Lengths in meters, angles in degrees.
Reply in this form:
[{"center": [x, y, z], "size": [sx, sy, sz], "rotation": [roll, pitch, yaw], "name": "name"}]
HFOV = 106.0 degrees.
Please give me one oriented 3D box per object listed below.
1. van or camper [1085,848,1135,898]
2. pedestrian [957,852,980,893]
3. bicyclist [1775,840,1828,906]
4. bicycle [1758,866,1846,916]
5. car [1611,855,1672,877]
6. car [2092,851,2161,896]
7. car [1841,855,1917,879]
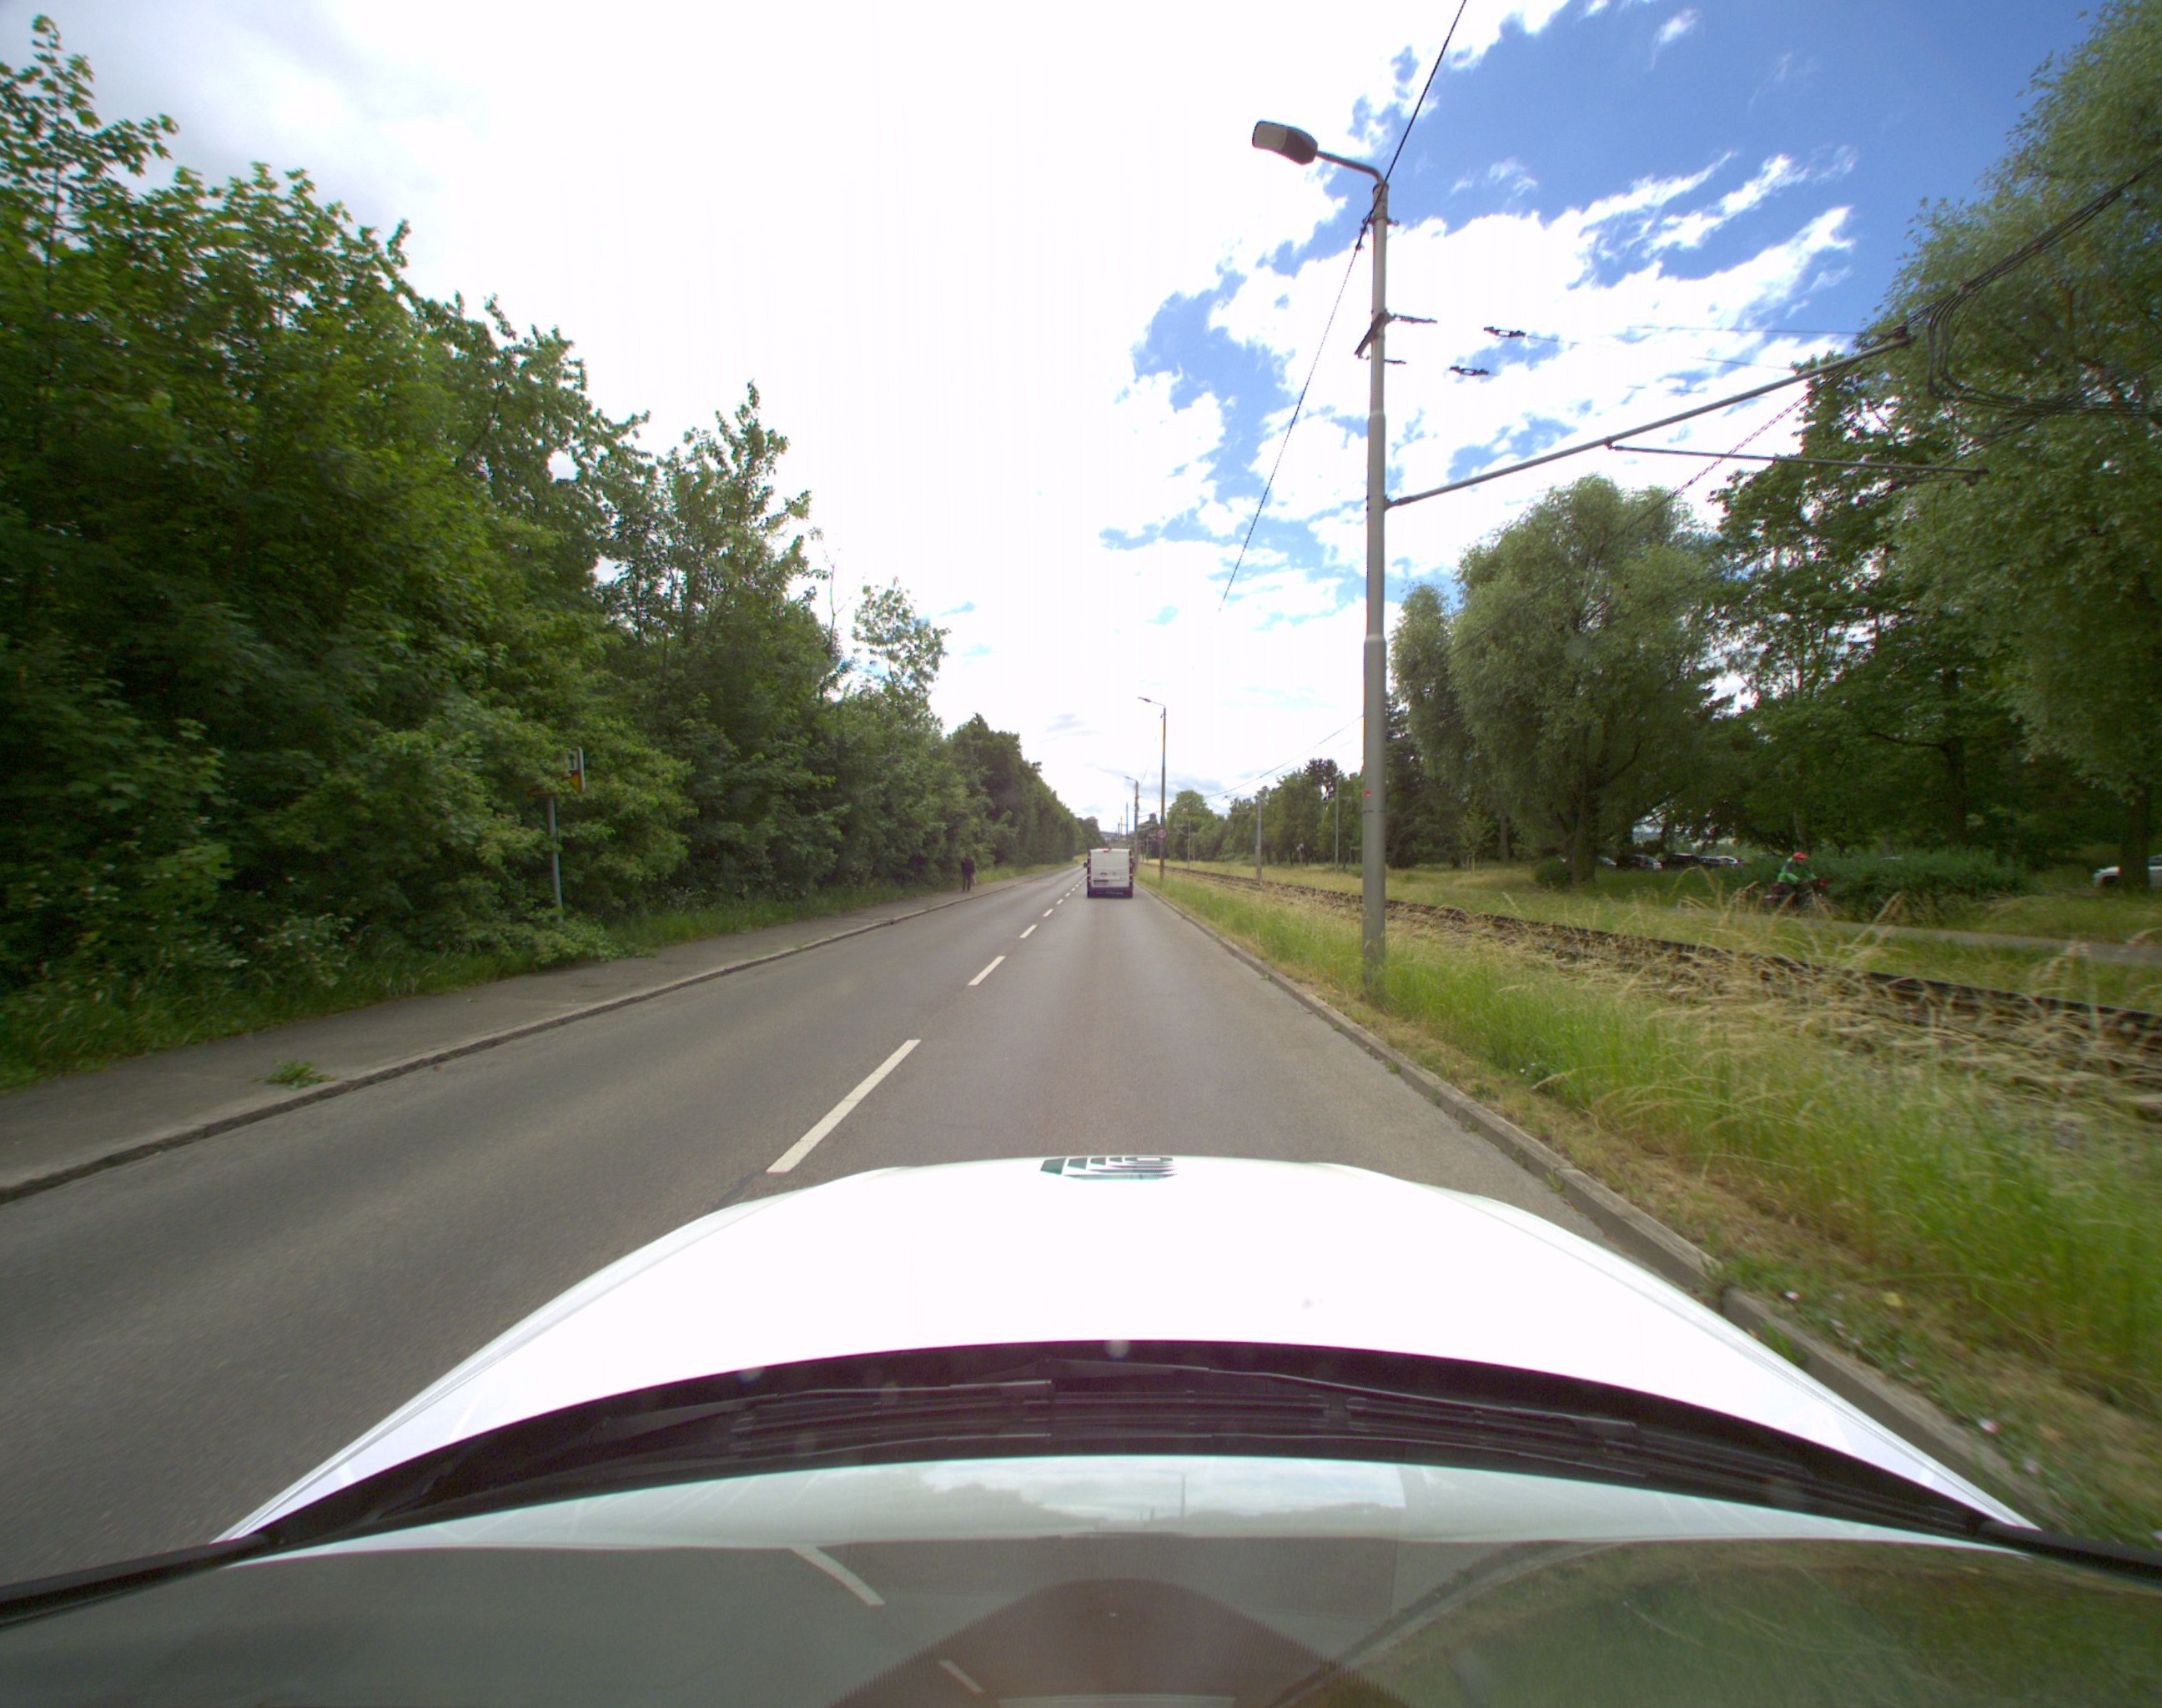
[{"center": [1.200, 0.760, 33.882], "size": [1.935, 1.897, 4.286], "rotation": [-1, -1, 1], "name": "van or camper"}, {"center": [-5.009, 0.819, 36.342], "size": [0.865, 1.770, 0.789], "rotation": [1, 0, -2], "name": "pedestrian"}, {"center": [18.996, 0.489, 21.490], "size": [0.579, 1.696, 0.935], "rotation": [1, -1, -2], "name": "bicyclist"}, {"center": [18.989, 0.941, 21.500], "size": [0.579, 1.246, 1.928], "rotation": [1, 0, -2], "name": "bicycle"}, {"center": [48.852, 1.013, 71.042], "size": [2.002, 1.812, 3.969], "rotation": [1, 0, -24], "name": "car"}, {"center": [41.806, 0.750, 30.803], "size": [1.986, 1.700, 4.231], "rotation": [1, 0, 2], "name": "car"}, {"center": [62.059, 1.004, 63.403], "size": [1.832, 1.734, 3.786], "rotation": [1, 0, -23], "name": "car"}]
